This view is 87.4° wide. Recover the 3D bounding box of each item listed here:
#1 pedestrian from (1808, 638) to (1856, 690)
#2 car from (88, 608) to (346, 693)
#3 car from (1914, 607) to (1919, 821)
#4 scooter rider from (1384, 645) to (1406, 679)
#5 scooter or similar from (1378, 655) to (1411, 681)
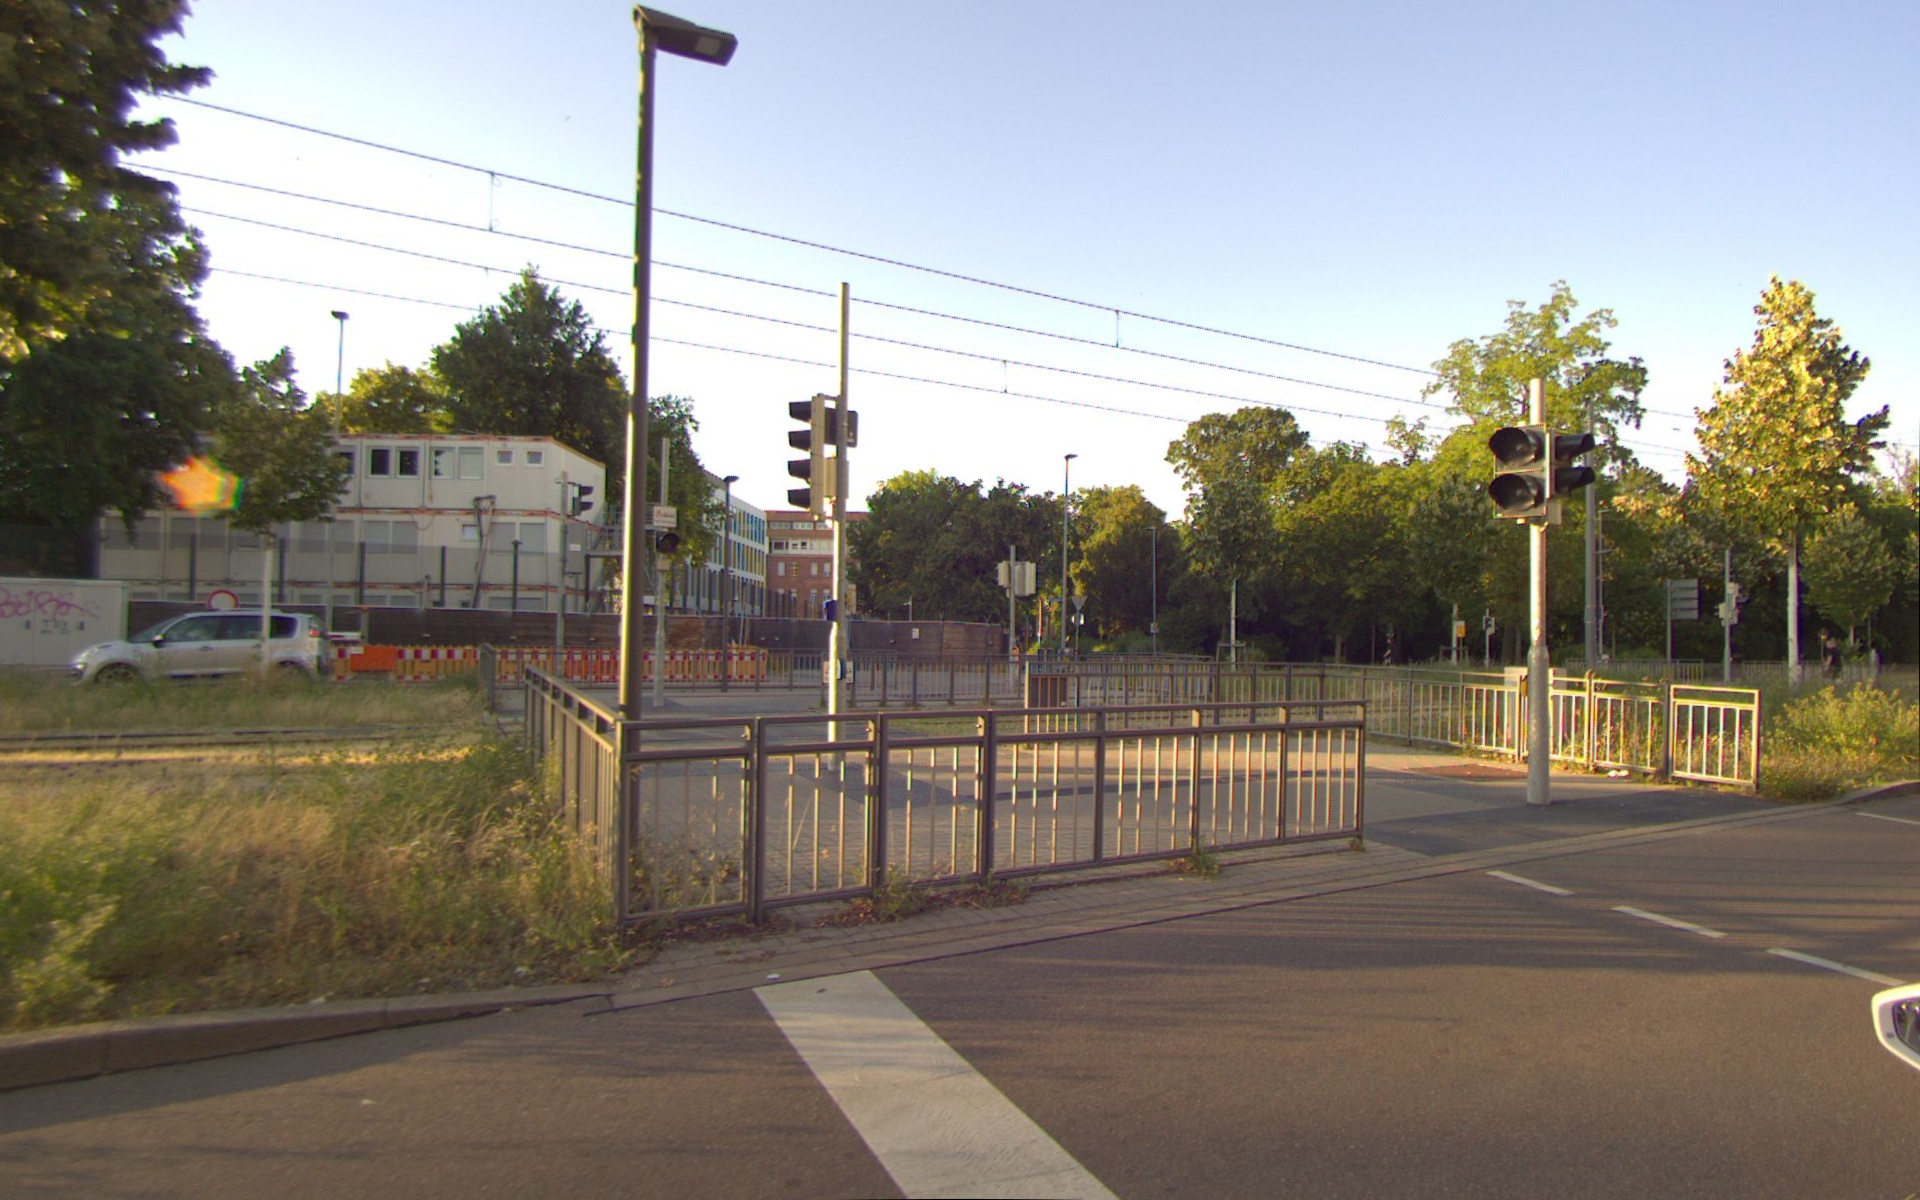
[{"bbox_3d":[27.636,2.013,31.837,0.798,1.607,0.835,1,-2,-14],"label":"pedestrian"},{"bbox_3d":[-14.174,0.962,19.452,3.737,1.500,1.792,2,-2,-29],"label":"car"},{"bbox_3d":[9.805,0.916,8.154,4.217,1.681,1.846,1,0,-29],"label":"car"},{"bbox_3d":[20.074,2.865,46.399,0.806,1.534,0.653,1,-2,9],"label":"scooter rider"},{"bbox_3d":[20.046,3.144,46.371,1.306,1.168,0.514,1,-2,9],"label":"scooter or similar"}]
